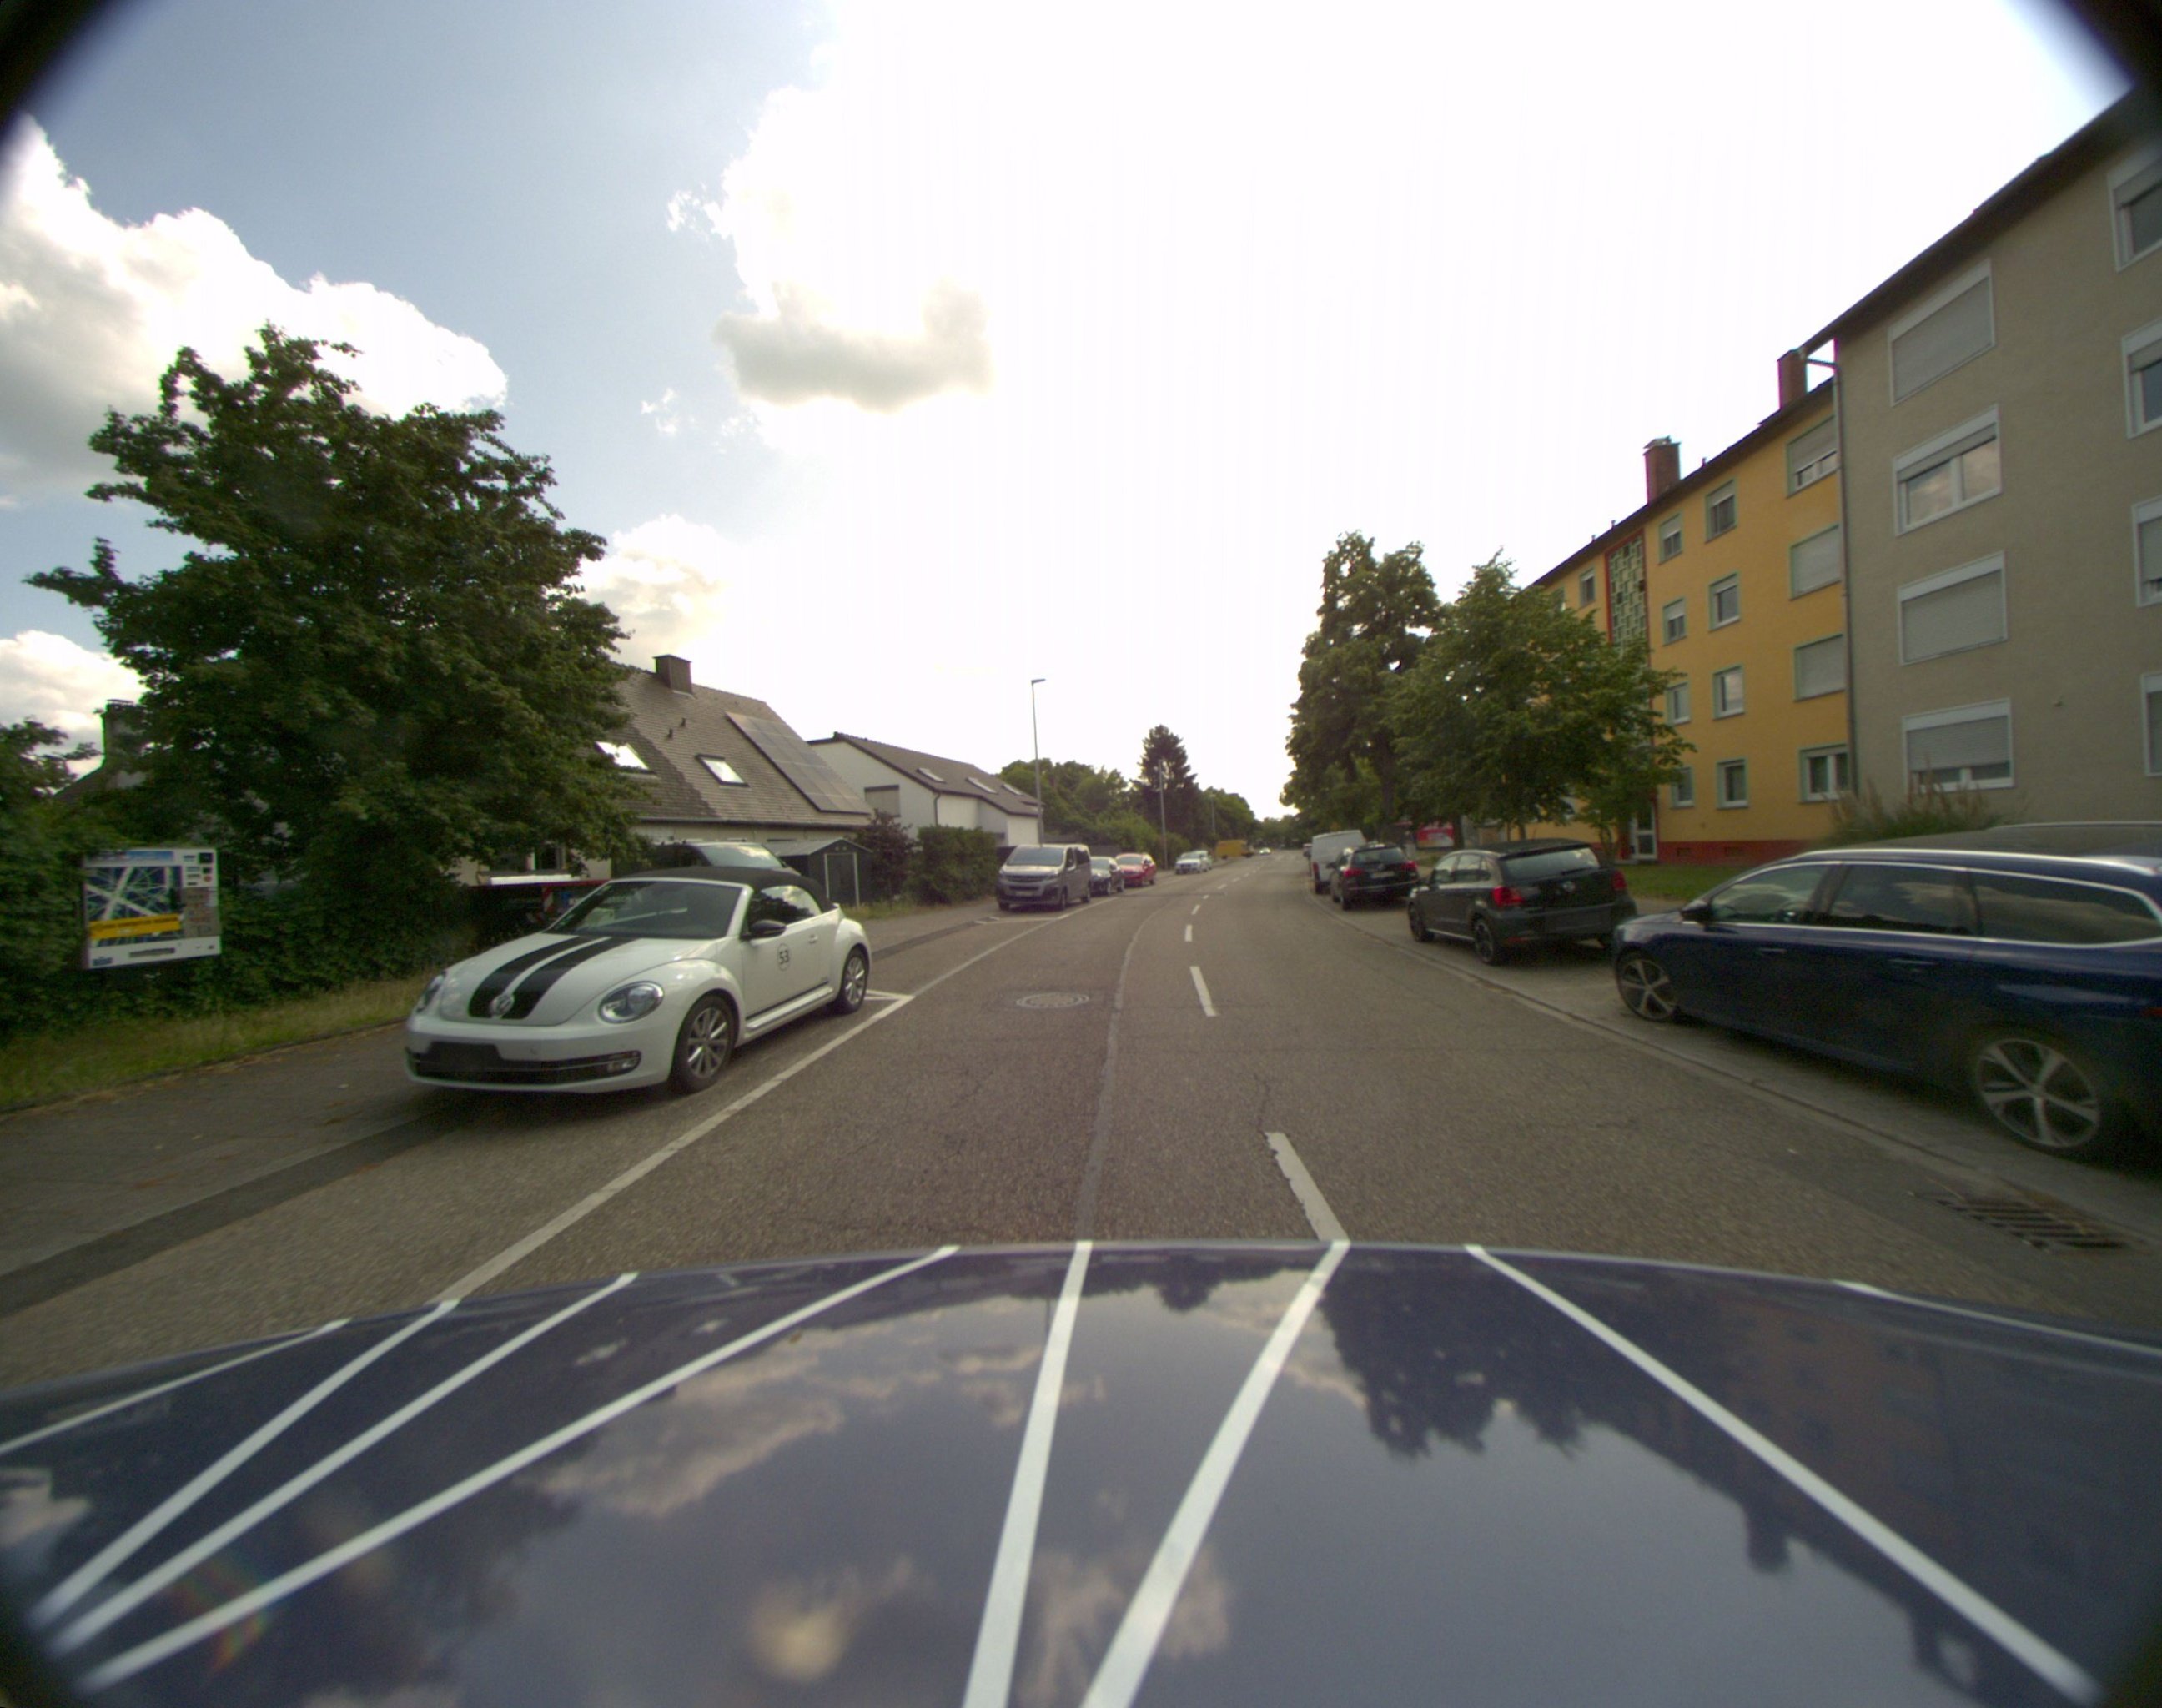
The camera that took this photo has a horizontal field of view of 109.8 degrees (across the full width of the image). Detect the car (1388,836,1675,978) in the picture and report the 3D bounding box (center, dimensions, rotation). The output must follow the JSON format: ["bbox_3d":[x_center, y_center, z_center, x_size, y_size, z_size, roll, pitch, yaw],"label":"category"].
[{"bbox_3d":[5.842,0.593,10.507,1.764,1.480,4.034,-4,0,5],"label":"car"}]

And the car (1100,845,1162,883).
[{"bbox_3d":[2.421,0.418,35.562,1.852,1.570,4.738,-3,0,16],"label":"car"}]

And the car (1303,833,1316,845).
[{"bbox_3d":[30.339,-1.953,100.889,1.556,1.508,3.613,-3,0,17],"label":"car"}]

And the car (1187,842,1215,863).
[{"bbox_3d":[9.431,-0.167,59.488,1.583,1.511,3.760,-2,0,17],"label":"car"}]

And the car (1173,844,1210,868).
[{"bbox_3d":[7.615,0.093,51.975,1.723,1.478,3.754,-2,0,20],"label":"car"}]

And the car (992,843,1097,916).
[{"bbox_3d":[-0.939,0.652,22.798,1.845,1.933,4.880,0,1,13],"label":"car"}]

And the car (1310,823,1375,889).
[{"bbox_3d":[8.965,0.041,26.286,1.882,1.998,5.329,-2,0,17],"label":"car"}]

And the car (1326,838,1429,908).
[{"bbox_3d":[7.335,0.405,19.211,1.763,1.480,4.508,-3,0,13],"label":"car"}]

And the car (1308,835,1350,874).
[{"bbox_3d":[11.381,0.000,35.076,1.520,1.540,3.760,-8,-2,16],"label":"car"}]

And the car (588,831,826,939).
[{"bbox_3d":[-8.298,0.686,16.708,5.344,2.045,2.003,-3,1,31],"label":"car"}]

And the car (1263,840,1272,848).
[{"bbox_3d":[37.432,-1.969,152.737,1.728,1.421,4.003,-1,2,14],"label":"car"}]

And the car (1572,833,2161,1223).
[{"bbox_3d":[5.356,0.679,4.721,1.764,1.480,4.570,-4,1,3],"label":"car"}]

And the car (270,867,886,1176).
[{"bbox_3d":[-3.280,0.953,6.270,1.743,1.503,4.460,-3,0,5],"label":"car"}]

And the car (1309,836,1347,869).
[{"bbox_3d":[13.065,-0.112,40.060,1.686,1.478,3.988,-6,0,19],"label":"car"}]

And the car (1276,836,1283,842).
[{"bbox_3d":[52.699,-3.949,201.372,1.728,1.421,4.003,-1,2,14],"label":"car"}]

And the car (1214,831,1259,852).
[{"bbox_3d":[24.445,-2.033,119.666,6.514,2.853,2.497,-4,1,3],"label":"car"}]
